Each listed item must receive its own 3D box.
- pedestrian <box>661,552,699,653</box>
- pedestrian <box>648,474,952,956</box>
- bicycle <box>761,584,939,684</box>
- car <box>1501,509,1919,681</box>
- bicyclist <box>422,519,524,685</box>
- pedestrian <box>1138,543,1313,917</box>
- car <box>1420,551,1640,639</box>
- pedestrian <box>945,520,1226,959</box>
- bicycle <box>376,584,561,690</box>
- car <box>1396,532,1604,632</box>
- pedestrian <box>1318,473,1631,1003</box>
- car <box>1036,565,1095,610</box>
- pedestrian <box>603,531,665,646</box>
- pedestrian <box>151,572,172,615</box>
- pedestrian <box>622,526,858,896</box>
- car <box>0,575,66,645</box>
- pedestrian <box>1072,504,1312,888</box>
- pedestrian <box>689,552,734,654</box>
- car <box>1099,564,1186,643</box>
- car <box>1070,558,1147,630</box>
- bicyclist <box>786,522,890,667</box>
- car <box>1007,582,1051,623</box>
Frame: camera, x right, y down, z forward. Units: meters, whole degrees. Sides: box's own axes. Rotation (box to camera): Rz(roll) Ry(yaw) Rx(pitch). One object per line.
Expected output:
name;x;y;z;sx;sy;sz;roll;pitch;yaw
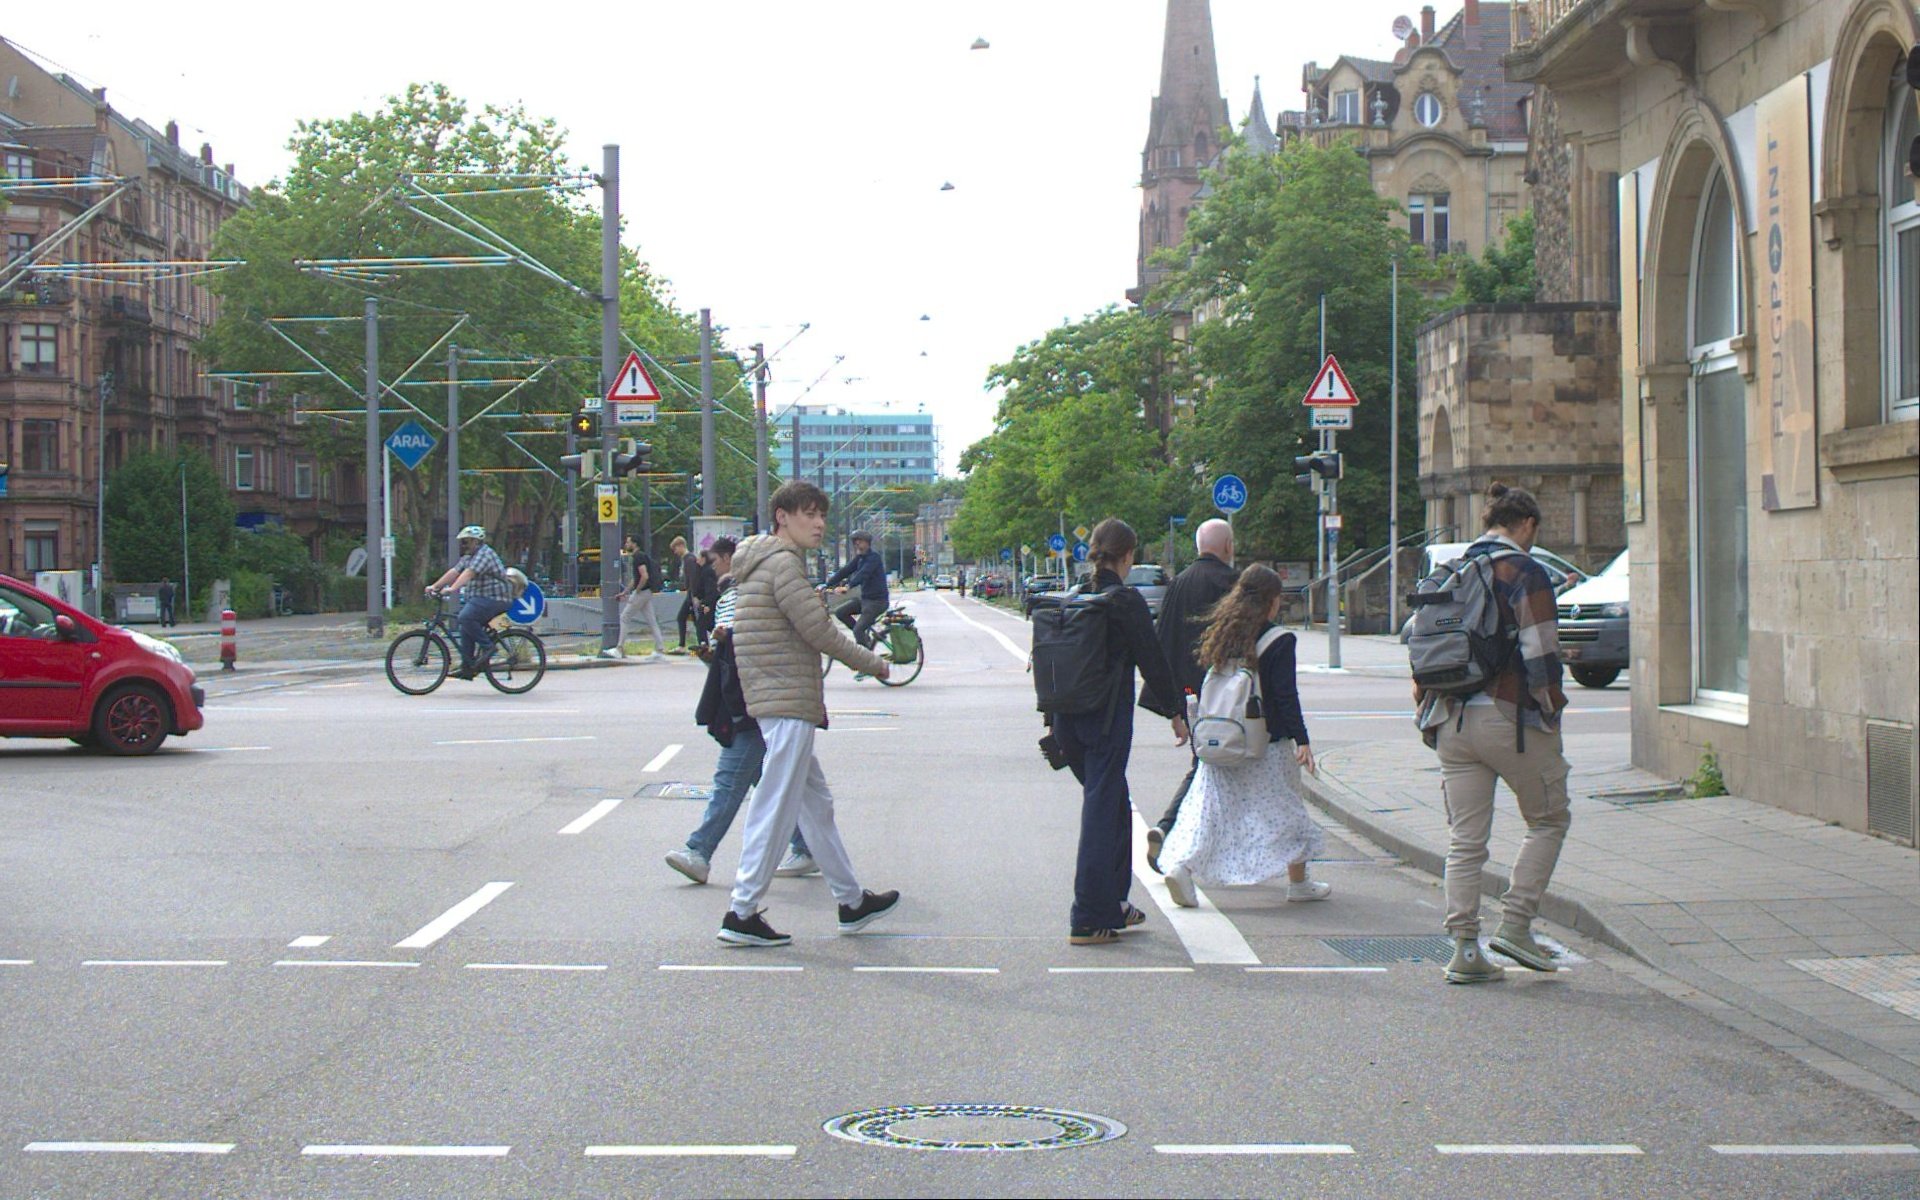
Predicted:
pedestrian;-4.280;0.038;52.531;0.545;1.532;0.466;1;0;-5
pedestrian;-0.625;0.433;13.357;1.011;1.807;0.585;1;0;-23
bicycle;-1.289;0.399;40.343;1.937;1.132;0.736;1;0;-21
car;9.070;-0.041;41.072;4.863;1.960;1.989;1;0;-26
bicyclist;-5.359;0.022;37.845;0.965;1.813;0.532;1;0;-29
pedestrian;1.178;0.552;15.137;0.700;1.587;0.831;1;0;8
car;10.777;-0.104;65.161;3.799;1.595;2.000;1;0;0
pedestrian;0.501;0.522;13.511;0.627;1.647;0.994;1;0;37
bicycle;-5.402;0.410;37.823;1.899;1.138;0.629;1;0;-29
car;10.742;-0.360;68.570;3.799;1.897;2.000;1;0;0
pedestrian;1.827;0.461;12.133;0.627;1.772;1.131;0;0;37
car;3.923;-0.458;128.738;1.993;1.602;4.164;-2;0;-1
pedestrian;-4.736;-0.170;50.002;0.850;1.649;0.508;1;0;-2
pedestrian;-27.044;-0.217;116.454;0.524;1.455;0.452;1;0;-35
pedestrian;-1.027;0.500;16.115;0.671;1.674;0.866;1;0;38
car;-22.085;0.217;79.411;1.894;1.552;3.836;1;0;-1
pedestrian;1.110;0.437;16.454;0.917;1.778;0.646;1;0;37
pedestrian;-3.757;0.046;52.024;0.653;1.532;0.466;1;0;-5
car;4.782;0.083;90.461;1.993;2.007;4.000;1;0;-1
car;4.293;-0.185;99.925;1.993;2.007;4.000;1;0;-1
bicyclist;-1.432;-0.064;40.274;1.038;1.678;0.645;1;0;-20
car;3.445;0.109;172.204;1.993;2.007;4.000;1;0;-1
